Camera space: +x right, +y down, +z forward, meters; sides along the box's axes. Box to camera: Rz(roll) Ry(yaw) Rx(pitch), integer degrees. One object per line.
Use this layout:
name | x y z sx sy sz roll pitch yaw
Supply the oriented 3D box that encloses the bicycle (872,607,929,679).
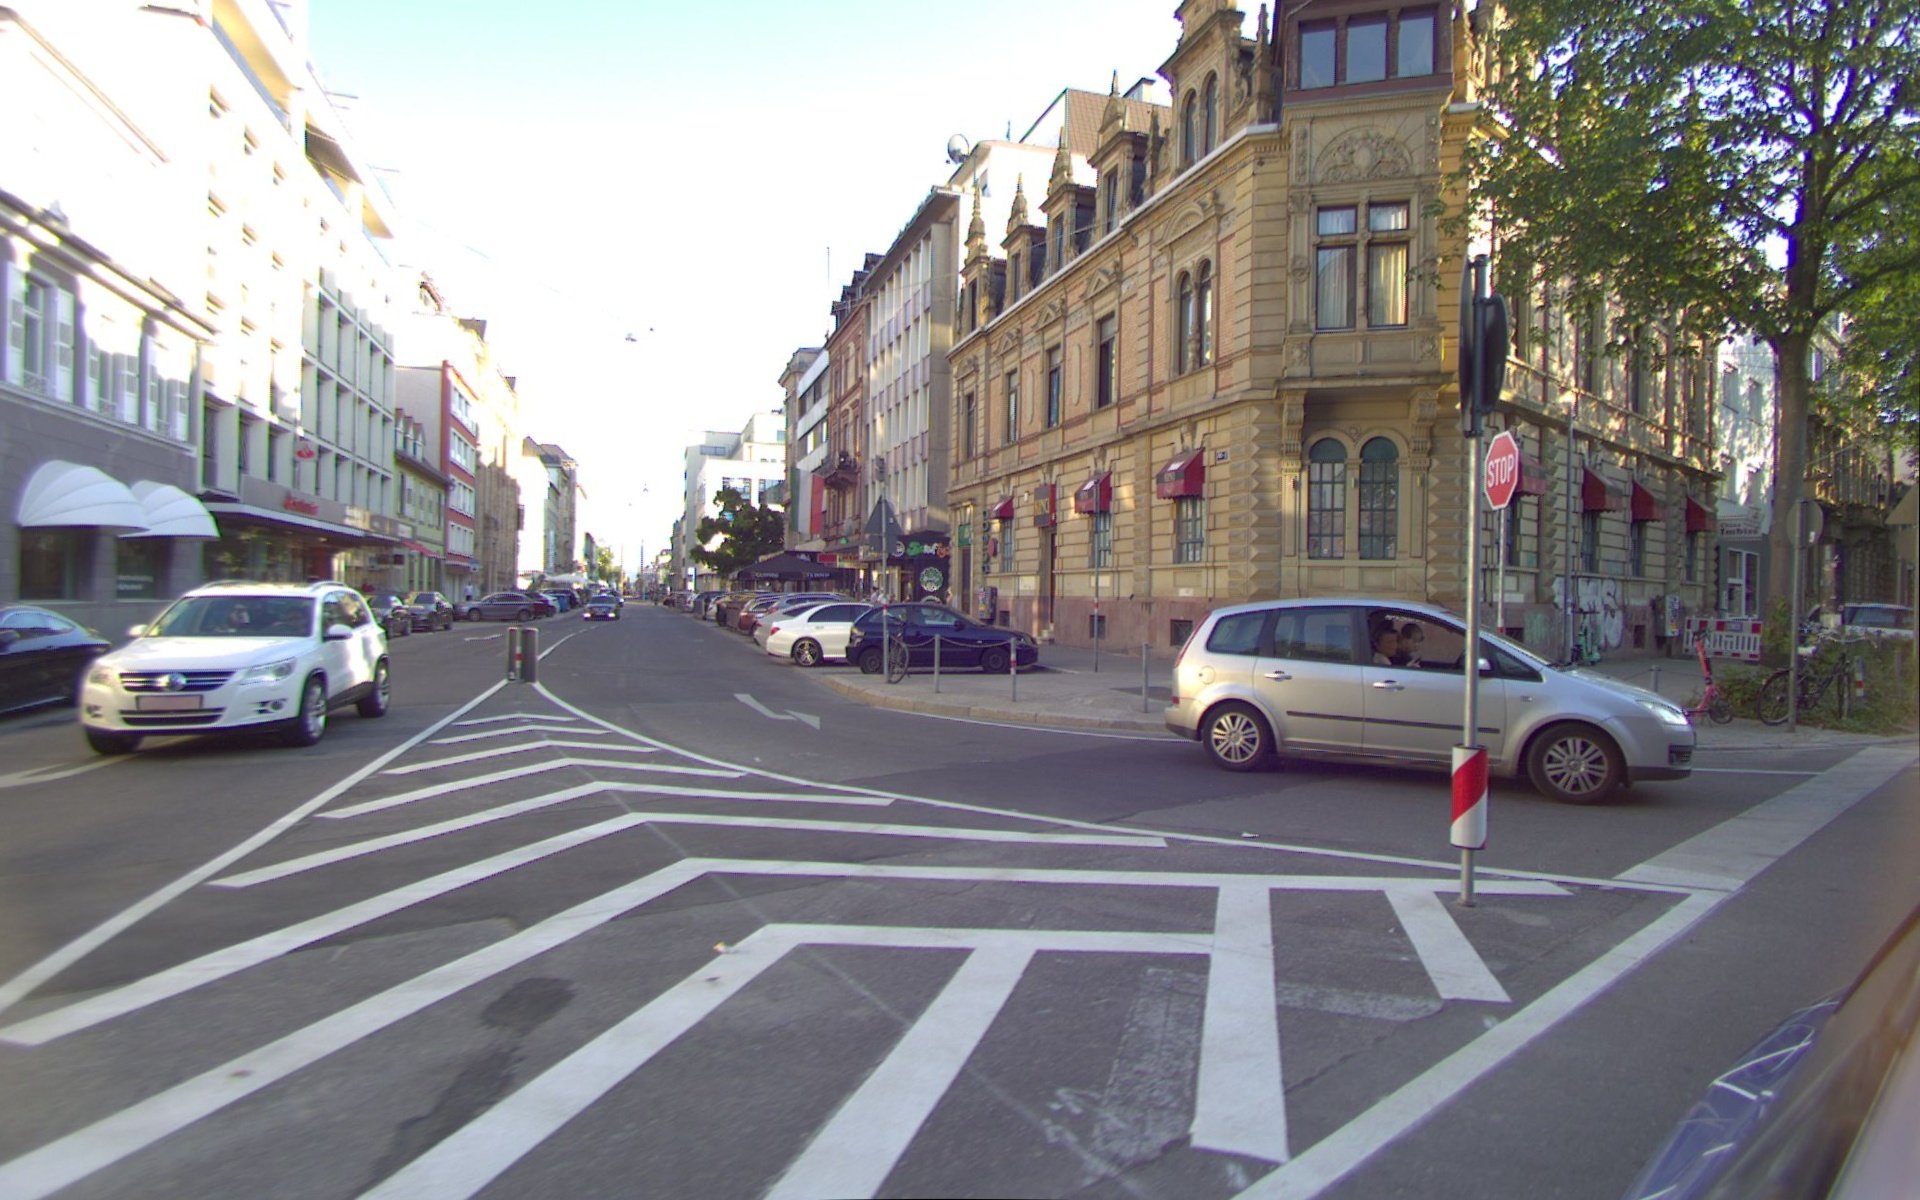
bicycle | -1.010 0.714 17.622 0.813 1.149 1.832 0 1 2

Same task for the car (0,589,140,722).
car | -11.868 0.619 11.937 1.738 1.387 4.527 4 0 -16

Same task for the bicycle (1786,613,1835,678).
bicycle | 16.423 0.844 19.517 2.212 1.167 0.524 0 0 -45

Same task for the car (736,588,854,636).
car | -5.901 0.405 36.541 4.056 1.580 1.782 2 0 -5

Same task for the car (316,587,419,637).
car | -17.994 0.326 30.931 1.738 1.386 4.192 1 1 -16

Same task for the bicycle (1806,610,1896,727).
bicycle | 11.111 0.835 12.611 1.262 1.389 0.418 1 1 -29

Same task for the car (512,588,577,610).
car | -30.837 -0.058 75.115 1.769 1.543 4.119 2 1 43

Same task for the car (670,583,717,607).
car | -23.596 -0.470 89.491 3.915 2.039 1.876 1 0 -16

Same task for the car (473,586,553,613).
car | -26.566 -0.053 60.219 4.103 1.543 1.776 0 1 -35

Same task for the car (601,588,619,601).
car | -36.778 -0.565 106.188 1.707 1.390 4.008 0 0 -20

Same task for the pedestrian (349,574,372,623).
pedestrian | -25.136 -0.065 42.439 0.665 2.039 0.621 1 0 -17

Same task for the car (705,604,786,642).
car | -10.716 1.123 50.691 3.781 1.813 2.002 0 0 -6

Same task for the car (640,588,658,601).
car | -34.374 -0.628 111.720 1.707 1.390 4.008 0 0 -20

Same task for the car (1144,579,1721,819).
car | 4.039 0.679 9.125 4.319 1.674 1.864 1 0 32

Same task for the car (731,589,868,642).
car | -5.212 0.471 33.075 4.072 1.559 1.774 2 0 10

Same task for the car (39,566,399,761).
car | -7.617 0.528 10.965 1.855 1.677 4.213 1 0 -17

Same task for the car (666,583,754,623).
car | -11.748 0.131 47.699 3.781 1.813 2.002 0 0 -6

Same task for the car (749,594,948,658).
car | -2.904 0.662 26.791 4.897 1.476 1.869 2 -1 11

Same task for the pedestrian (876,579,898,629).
pedestrian | -2.667 0.134 36.933 0.621 1.785 0.737 1 0 -18

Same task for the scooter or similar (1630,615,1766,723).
scooter or similar | 9.085 0.834 12.488 1.252 1.259 0.505 1 0 7

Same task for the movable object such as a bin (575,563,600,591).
movable object such as a bin | -41.468 -2.527 112.668 2.306 2.993 5.585 0 0 -17

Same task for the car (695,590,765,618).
car | -14.123 0.260 62.068 4.051 1.580 1.784 1 0 -18

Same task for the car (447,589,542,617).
car | -23.974 0.134 52.185 1.769 1.386 4.119 2 1 42

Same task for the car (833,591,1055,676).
car | -0.259 0.644 20.316 4.207 1.430 1.709 -3 0 8

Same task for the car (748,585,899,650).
car | -4.002 0.481 29.972 4.072 1.747 1.774 2 0 10

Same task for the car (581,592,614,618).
car | -20.513 0.282 57.227 1.707 1.390 4.008 0 0 -20

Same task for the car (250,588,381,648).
car | -16.441 0.409 26.040 1.738 1.386 4.192 1 1 -16

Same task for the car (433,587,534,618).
car | -22.898 0.097 48.774 1.763 1.386 4.132 1 1 34

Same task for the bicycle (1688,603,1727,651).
bicycle | 19.999 0.706 27.071 1.694 1.226 0.386 1 1 -39

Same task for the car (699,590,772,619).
car | -13.331 0.266 60.026 4.051 1.580 1.784 1 0 -18

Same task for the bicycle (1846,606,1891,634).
bicycle | 23.693 0.506 26.374 2.289 0.673 0.582 0 0 -41

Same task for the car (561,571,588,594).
car | -36.355 -1.623 95.472 2.306 2.039 4.549 0 0 -20

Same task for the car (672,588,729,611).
car | -19.636 -0.047 76.468 4.051 1.580 1.784 1 0 -18

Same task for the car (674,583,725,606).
car | -21.848 -0.481 84.876 3.916 1.839 1.862 1 0 -19

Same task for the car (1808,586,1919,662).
car | 25.977 0.657 27.277 1.917 1.938 4.547 1 1 -42

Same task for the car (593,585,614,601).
car | -31.056 -0.581 88.182 1.707 1.390 4.008 0 0 -20

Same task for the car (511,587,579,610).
car | -29.445 -0.135 71.860 1.770 1.543 4.117 2 1 44

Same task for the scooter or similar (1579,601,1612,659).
scooter or similar | 13.540 0.640 21.545 1.073 1.209 0.251 2 -1 -40

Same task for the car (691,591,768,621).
car | -13.047 0.323 57.174 4.051 1.580 1.784 1 0 -18

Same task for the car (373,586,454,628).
car | -19.693 0.206 36.624 1.738 1.386 4.192 1 1 -16

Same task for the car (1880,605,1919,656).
car | 31.946 1.035 31.778 1.934 1.580 4.237 2 1 -37

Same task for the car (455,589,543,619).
car | -24.955 0.197 54.862 4.103 1.543 1.776 0 1 -35

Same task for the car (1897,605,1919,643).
car | 39.242 1.013 38.803 1.890 1.455 4.596 1 1 -38

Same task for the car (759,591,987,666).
car | -1.975 0.611 23.555 4.915 1.476 1.980 2 1 13

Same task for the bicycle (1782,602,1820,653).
bicycle | 21.355 0.697 25.686 1.694 1.250 0.386 1 1 -39

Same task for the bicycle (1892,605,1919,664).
bicycle | 28.219 0.984 28.331 0.647 1.684 3.115 1 -1 -44

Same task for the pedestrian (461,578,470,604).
pedestrian | -32.887 -0.619 67.308 0.418 1.728 0.499 2 -1 -26
